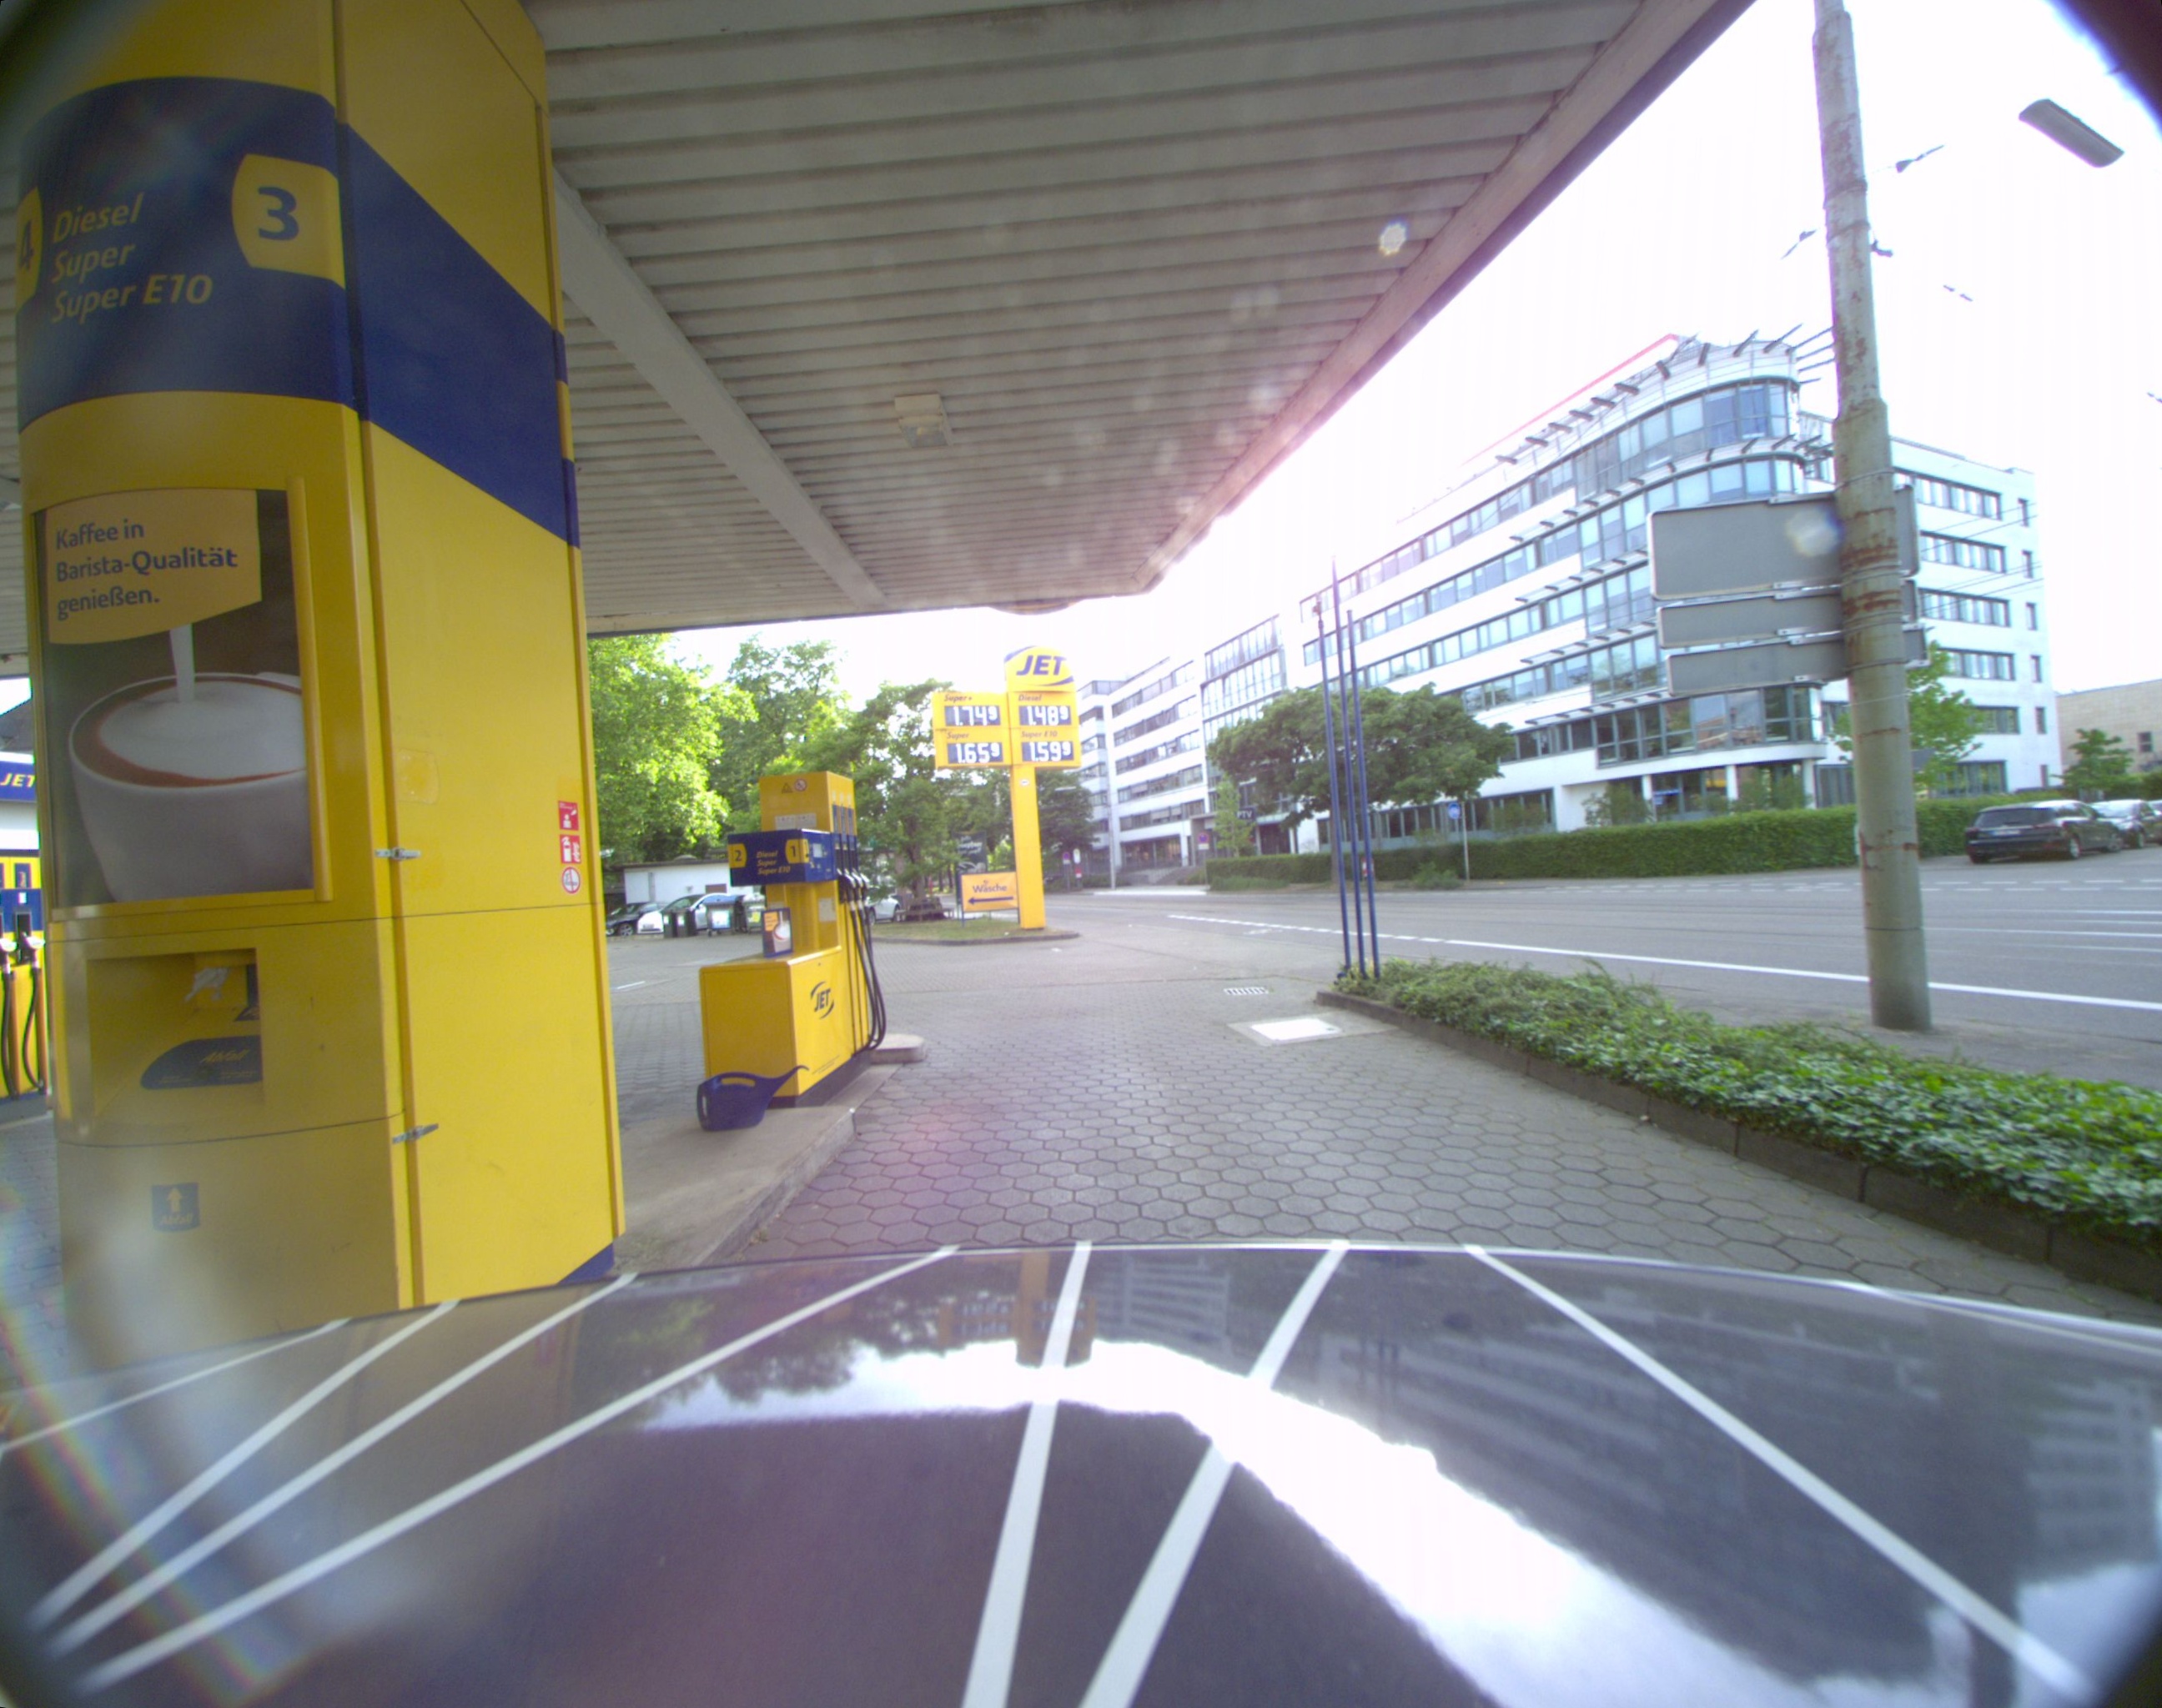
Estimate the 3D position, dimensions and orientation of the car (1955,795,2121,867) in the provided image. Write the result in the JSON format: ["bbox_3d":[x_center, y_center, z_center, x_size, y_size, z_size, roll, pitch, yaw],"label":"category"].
[{"bbox_3d":[27.420,-0.666,21.766,4.397,1.678,1.820,-4,-1,-24],"label":"car"}]

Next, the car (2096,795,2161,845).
[{"bbox_3d":[37.107,-1.247,26.024,4.201,1.568,1.820,-4,-1,-24],"label":"car"}]

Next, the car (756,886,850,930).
[{"bbox_3d":[-11.745,2.256,32.474,1.823,1.575,4.200,-4,-2,10],"label":"car"}]

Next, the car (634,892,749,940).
[{"bbox_3d":[-15.388,2.402,30.263,1.823,1.575,4.200,-4,-2,10],"label":"car"}]

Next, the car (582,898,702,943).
[{"bbox_3d":[-17.533,2.620,30.617,1.823,1.426,4.200,-4,-2,10],"label":"car"}]

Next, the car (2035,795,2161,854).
[{"bbox_3d":[32.578,-0.954,24.076,4.201,1.568,1.820,-4,-1,-24],"label":"car"}]

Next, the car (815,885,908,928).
[{"bbox_3d":[-8.655,2.039,30.387,1.823,1.449,4.200,-4,-2,10],"label":"car"}]
